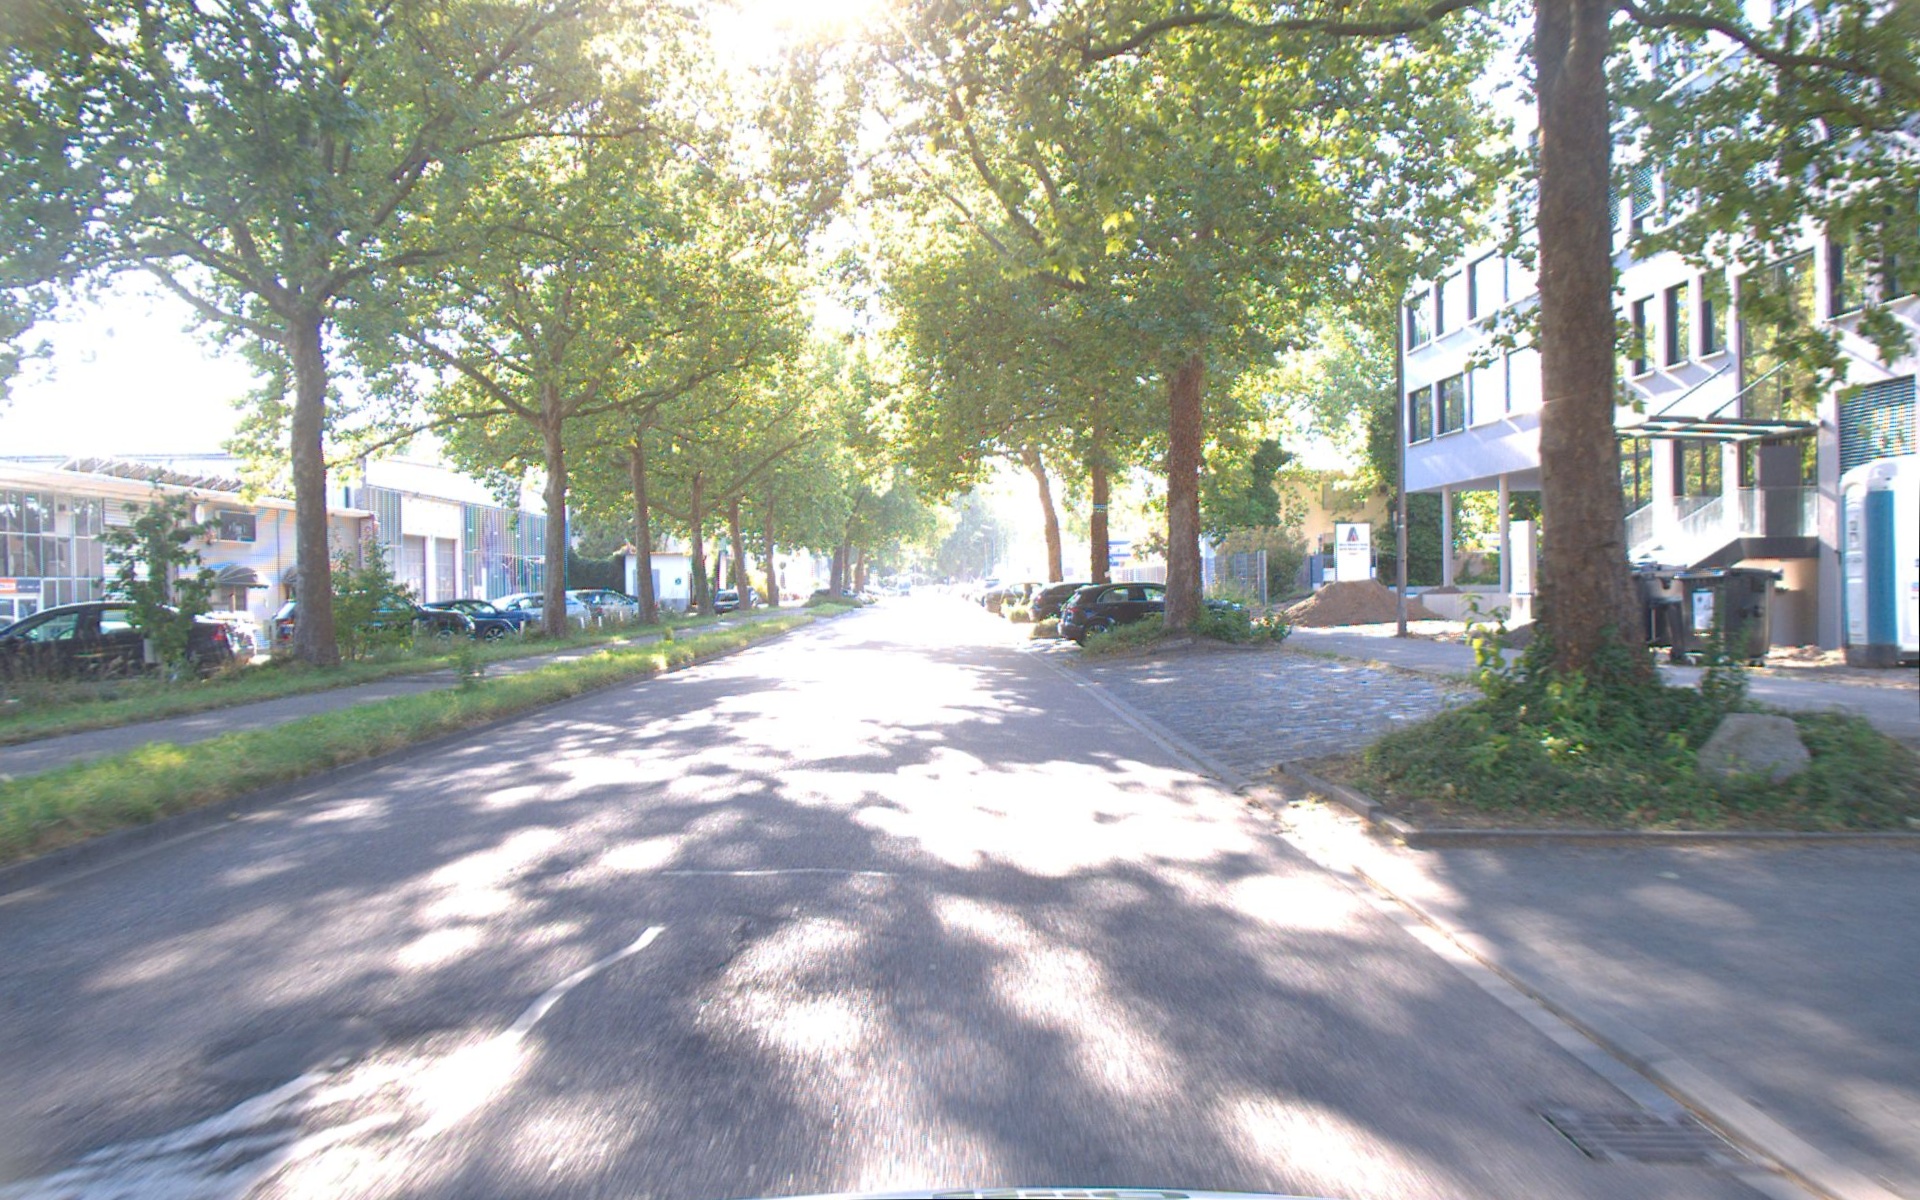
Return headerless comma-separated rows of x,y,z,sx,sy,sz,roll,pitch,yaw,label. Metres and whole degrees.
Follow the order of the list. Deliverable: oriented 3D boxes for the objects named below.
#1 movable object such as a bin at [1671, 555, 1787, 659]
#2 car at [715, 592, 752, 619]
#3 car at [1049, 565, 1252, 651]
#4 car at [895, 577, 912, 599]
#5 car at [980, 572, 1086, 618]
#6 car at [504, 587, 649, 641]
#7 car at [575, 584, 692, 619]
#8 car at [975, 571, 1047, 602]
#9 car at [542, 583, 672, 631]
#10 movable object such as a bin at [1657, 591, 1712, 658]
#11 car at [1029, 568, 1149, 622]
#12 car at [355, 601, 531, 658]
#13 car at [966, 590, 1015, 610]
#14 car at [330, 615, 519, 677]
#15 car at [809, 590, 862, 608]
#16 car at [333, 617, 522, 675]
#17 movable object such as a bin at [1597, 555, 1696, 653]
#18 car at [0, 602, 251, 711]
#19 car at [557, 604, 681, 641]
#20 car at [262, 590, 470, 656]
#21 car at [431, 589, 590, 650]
9.841,0.089,21.223,0.732,1.285,1.611,0,0,-1,movable object such as a bin
-13.607,0.319,99.641,1.956,1.393,3.916,-5,0,-6,car
4.232,0.180,37.206,4.200,1.511,1.860,-5,0,-3,car
-7.361,-1.592,217.759,2.084,2.706,7.000,-1,1,-1,car
3.267,-0.214,74.743,4.481,1.745,1.941,-4,0,-5,car
-12.402,0.444,53.644,1.964,1.658,4.238,0,0,41,car
-13.566,0.057,68.882,4.448,1.328,1.969,-2,1,-43,car
3.342,-0.871,109.352,4.533,1.741,1.999,-4,0,-3,car
-13.347,0.273,62.726,4.439,1.761,1.972,1,0,-39,car
9.975,0.335,22.779,0.482,0.916,0.599,0,0,-2,movable object such as a bin
4.281,-0.175,55.250,3.710,1.511,1.860,-4,0,-3,car
-14.219,0.793,45.598,4.221,1.477,1.972,1,0,-40,car
2.851,0.019,156.337,4.507,1.607,2.000,-4,0,1,car
-13.728,1.145,42.517,4.221,1.477,1.972,1,0,-40,car
-10.701,-0.065,142.433,4.507,1.447,1.999,-1,1,-2,car
-13.680,1.148,42.587,4.221,1.406,1.972,1,0,-40,car
9.908,0.057,23.923,0.732,1.374,1.620,0,0,-1,movable object such as a bin
-13.036,0.813,24.926,4.281,1.557,1.984,1,0,-25,car
-13.495,0.875,65.568,4.448,1.328,1.969,-2,1,-43,car
-13.981,0.522,39.032,4.221,1.477,1.972,1,0,-40,car
-13.444,0.567,49.623,1.965,1.729,4.237,0,0,42,car
